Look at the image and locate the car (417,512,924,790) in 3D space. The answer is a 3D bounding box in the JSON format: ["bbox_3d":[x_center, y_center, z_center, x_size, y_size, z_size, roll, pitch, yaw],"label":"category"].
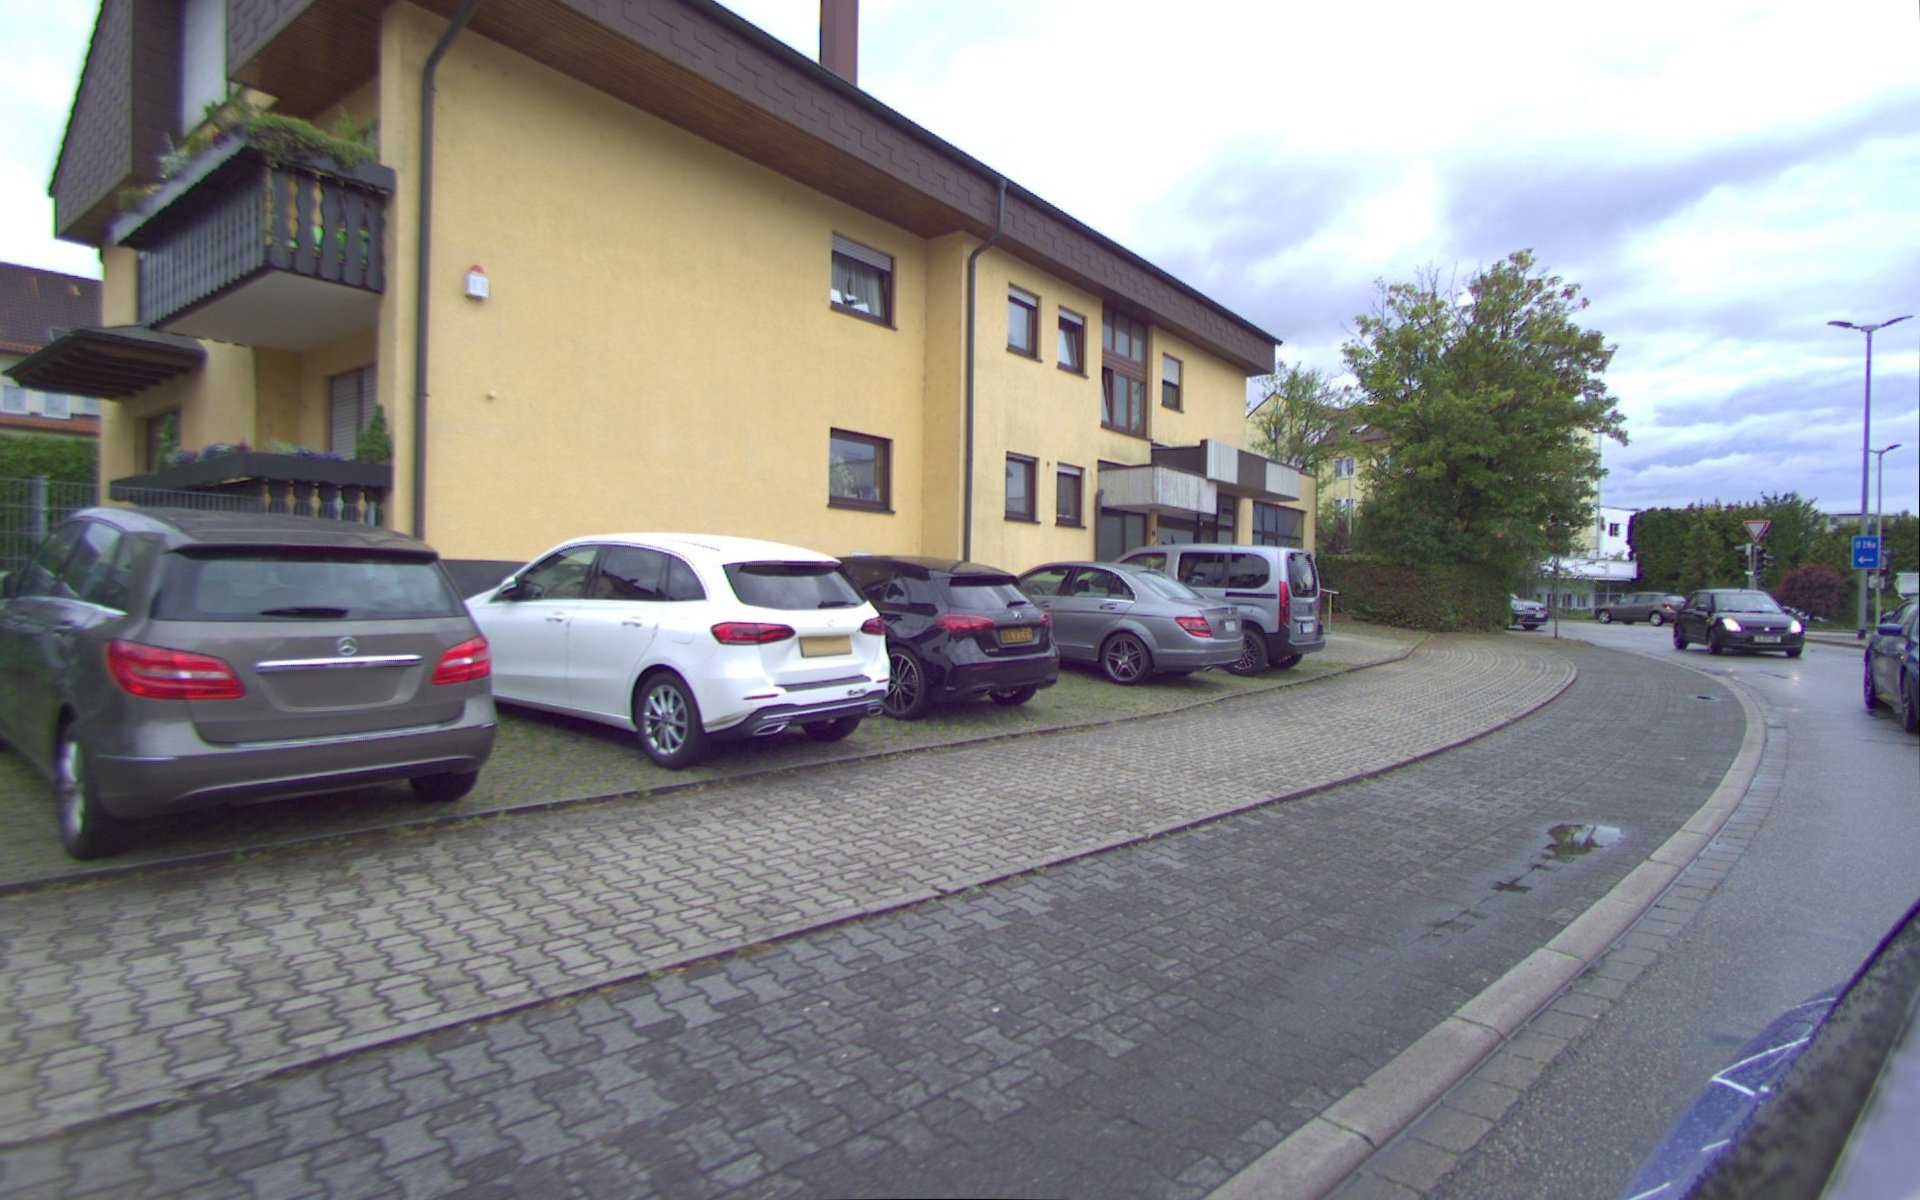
[{"bbox_3d":[-2.467,0.194,8.181,4.036,1.615,1.871,5,4,37],"label":"car"}]

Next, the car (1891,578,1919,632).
[{"bbox_3d":[30.739,0.170,31.391,1.942,1.537,4.130,1,3,31],"label":"car"}]

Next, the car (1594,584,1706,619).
[{"bbox_3d":[31.471,0.032,46.294,1.790,1.505,3.946,0,1,-20],"label":"car"}]

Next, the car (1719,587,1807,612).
[{"bbox_3d":[50.677,-0.086,63.943,1.958,1.482,4.008,0,1,-12],"label":"car"}]

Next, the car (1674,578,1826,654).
[{"bbox_3d":[18.567,0.317,23.994,1.726,1.538,3.973,-2,2,22],"label":"car"}]

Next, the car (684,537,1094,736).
[{"bbox_3d":[-0.861,0.209,10.430,4.042,1.507,1.877,6,5,41],"label":"car"}]

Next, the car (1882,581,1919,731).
[{"bbox_3d":[11.691,0.538,11.294,1.906,1.515,4.285,0,0,40],"label":"car"}]

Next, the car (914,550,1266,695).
[{"bbox_3d":[1.613,0.175,13.459,4.351,1.440,1.673,5,4,37],"label":"car"}]

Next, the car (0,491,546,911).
[{"bbox_3d":[-4.371,0.231,5.909,4.038,1.615,1.879,6,4,38],"label":"car"}]

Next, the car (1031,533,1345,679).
[{"bbox_3d":[3.437,-0.022,15.627,4.285,1.802,1.880,5,4,37],"label":"car"}]

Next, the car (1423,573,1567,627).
[{"bbox_3d":[19.388,-0.044,36.866,1.929,1.771,4.315,-3,2,-25],"label":"car"}]
